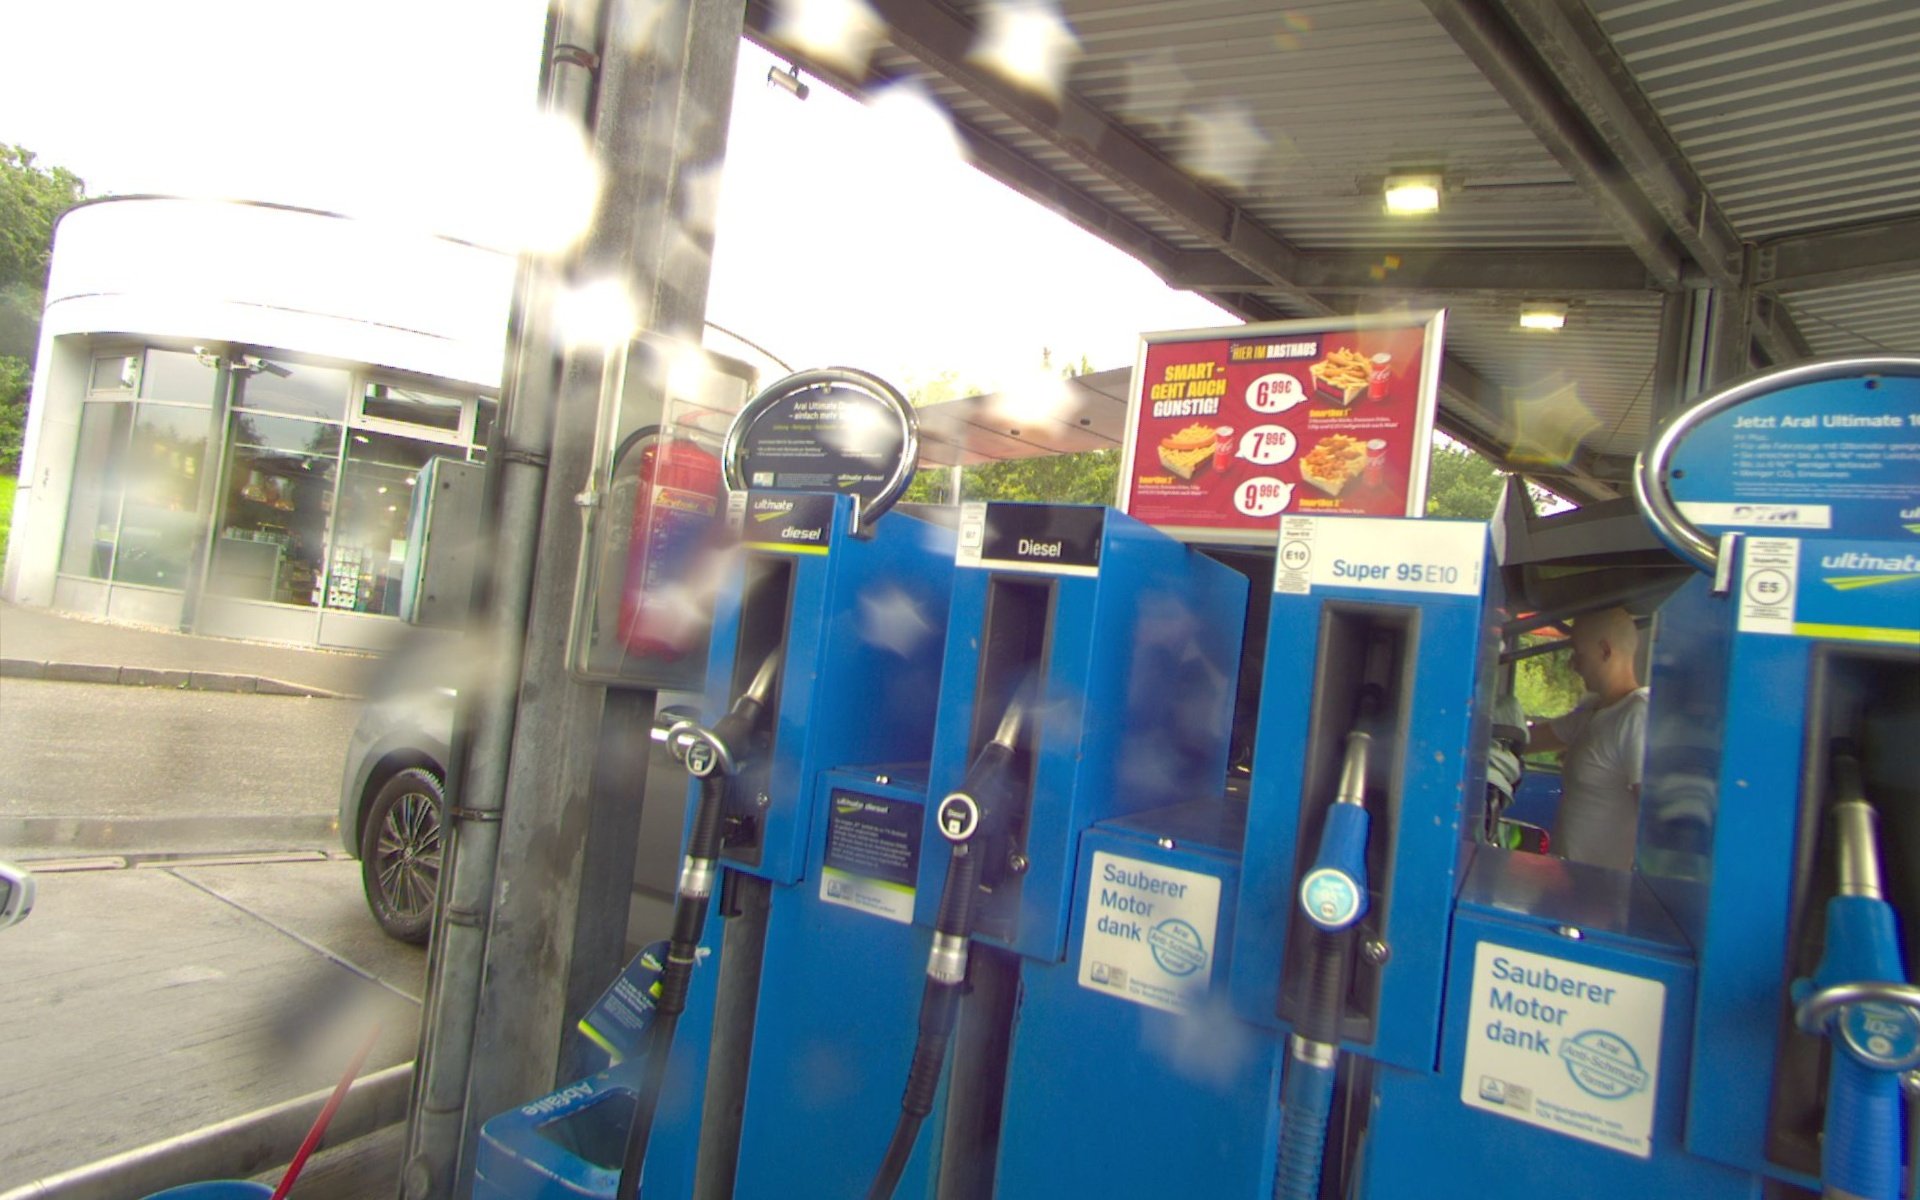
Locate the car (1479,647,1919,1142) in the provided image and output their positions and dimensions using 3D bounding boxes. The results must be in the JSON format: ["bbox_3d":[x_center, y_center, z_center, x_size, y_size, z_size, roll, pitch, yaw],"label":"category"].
[{"bbox_3d":[4.983,1.427,4.509,4.464,1.819,1.865,6,-2,32],"label":"car"}]

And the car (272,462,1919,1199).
[{"bbox_3d":[-0.157,0.647,3.684,5.055,1.819,1.865,6,-2,32],"label":"car"}]
